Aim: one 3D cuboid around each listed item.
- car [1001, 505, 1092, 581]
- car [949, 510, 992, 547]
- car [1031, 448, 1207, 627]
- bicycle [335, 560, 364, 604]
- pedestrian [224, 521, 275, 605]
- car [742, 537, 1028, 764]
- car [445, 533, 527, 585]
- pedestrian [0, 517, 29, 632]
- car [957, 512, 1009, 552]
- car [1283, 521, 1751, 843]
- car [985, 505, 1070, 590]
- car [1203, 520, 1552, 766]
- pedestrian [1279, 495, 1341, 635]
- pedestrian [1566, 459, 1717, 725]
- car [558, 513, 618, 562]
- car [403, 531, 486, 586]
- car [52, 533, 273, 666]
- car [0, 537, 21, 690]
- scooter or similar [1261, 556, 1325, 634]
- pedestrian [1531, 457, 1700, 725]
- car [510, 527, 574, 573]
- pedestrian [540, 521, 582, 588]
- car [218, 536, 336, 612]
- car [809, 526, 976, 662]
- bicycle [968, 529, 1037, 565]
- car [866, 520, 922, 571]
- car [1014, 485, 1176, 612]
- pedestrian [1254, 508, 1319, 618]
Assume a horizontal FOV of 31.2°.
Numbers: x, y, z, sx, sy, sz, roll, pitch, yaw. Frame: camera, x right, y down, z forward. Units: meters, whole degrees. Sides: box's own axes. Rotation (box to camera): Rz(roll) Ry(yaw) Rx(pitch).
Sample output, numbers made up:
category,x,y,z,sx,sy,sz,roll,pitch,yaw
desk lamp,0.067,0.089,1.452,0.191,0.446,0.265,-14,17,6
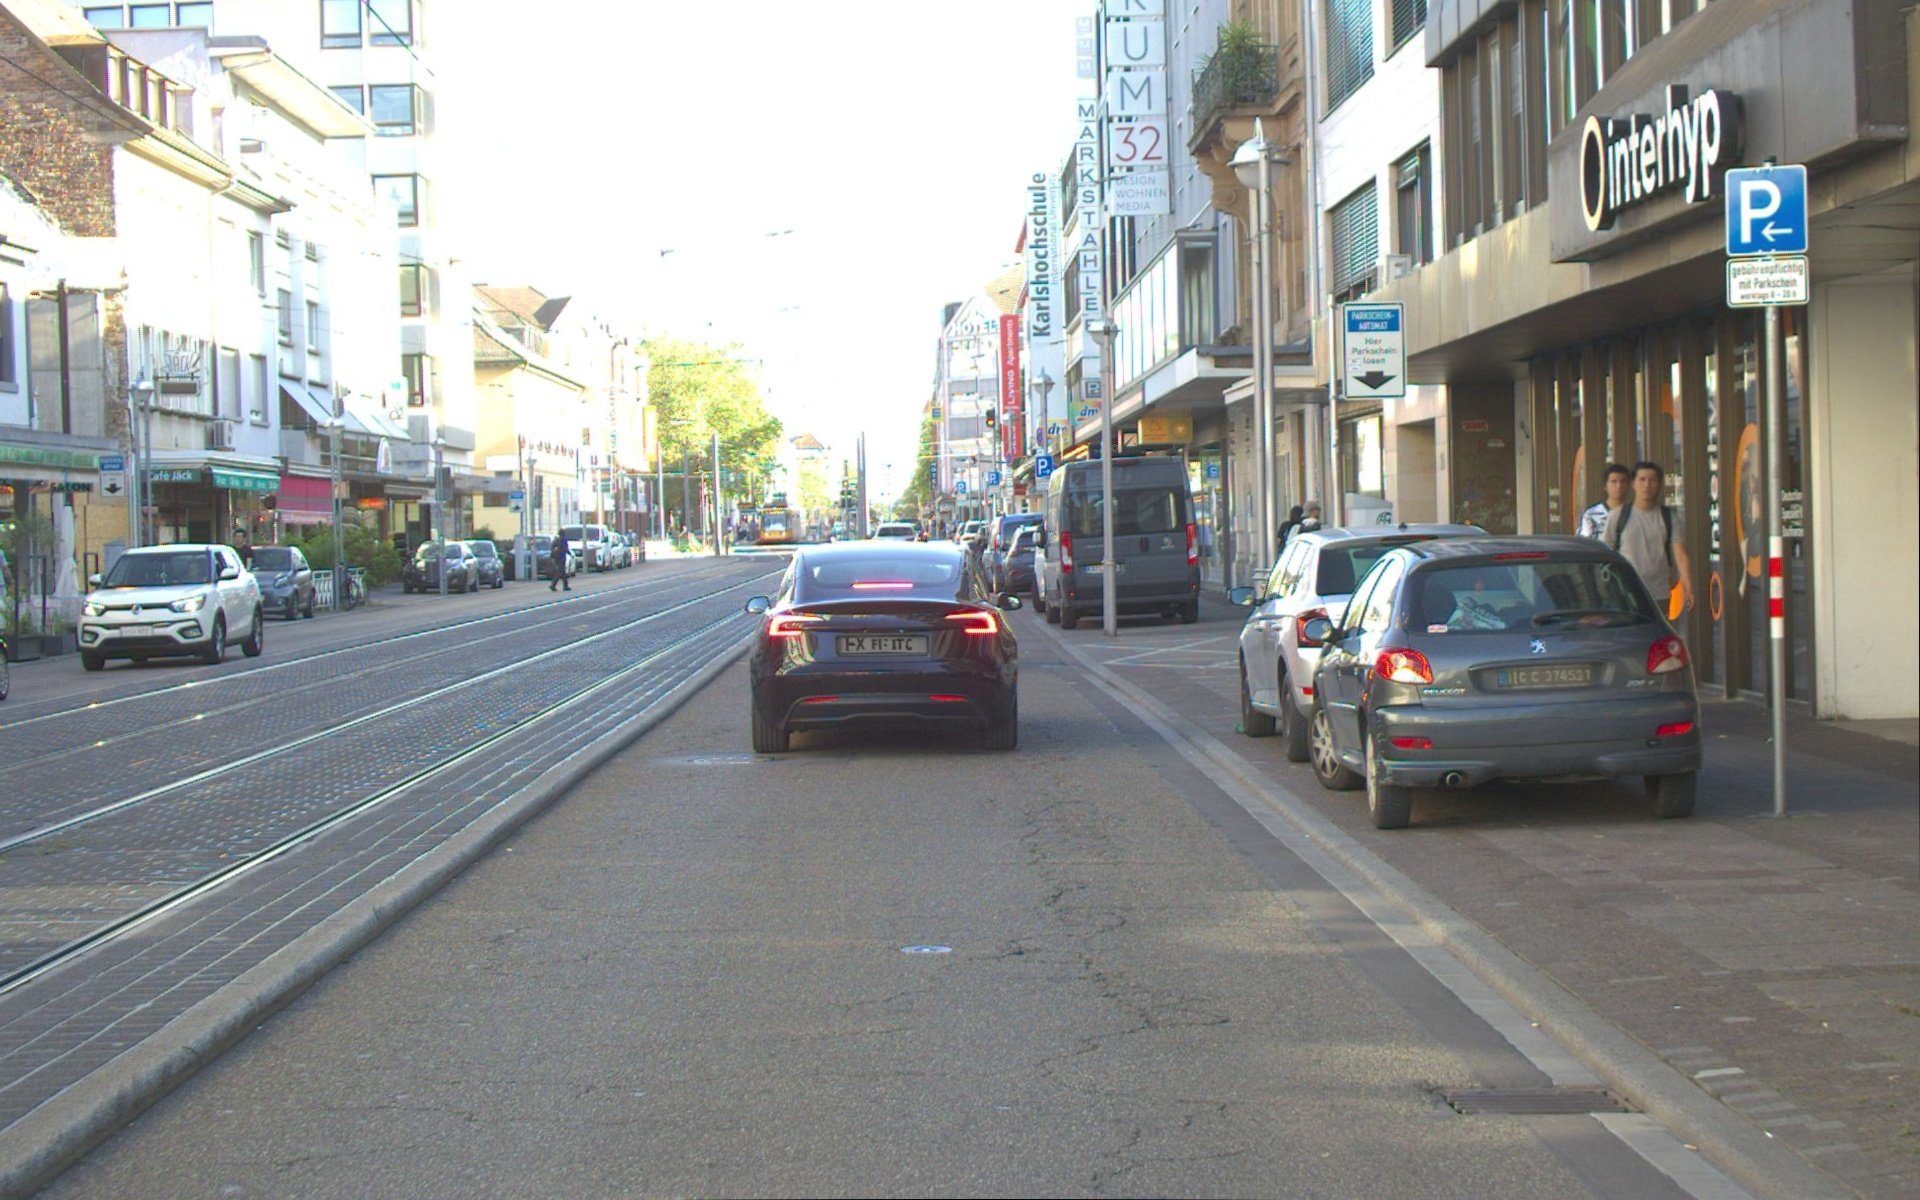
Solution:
category,x,y,z,sx,sy,sz,roll,pitch,yaw
car,1.802,-1.220,72.749,1.751,1.494,3.754,-2,2,0
car,0.511,-3.491,168.259,1.993,1.747,4.000,-1,1,-1
car,2.356,-0.978,52.338,2.171,2.453,5.362,-3,2,-1
bicycle,-14.126,-0.421,79.526,0.368,0.999,1.605,-2,1,-19
pedestrian,-12.368,-0.653,59.856,0.624,1.439,0.874,-1,1,4
car,-0.506,0.293,24.950,1.869,1.422,4.365,-1,2,0
car,-14.714,-1.296,106.873,1.770,1.503,3.860,-2,1,3
pedestrian,-15.001,-0.388,53.387,0.886,1.769,0.688,-1,1,-2
car,0.936,-2.752,139.769,1.993,1.537,4.000,-1,1,-1
car,2.863,0.342,18.581,1.848,1.457,4.302,-2,1,1
car,1.527,-1.225,78.889,1.821,1.864,3.754,-1,2,0
car,2.739,0.215,23.432,1.745,1.457,4.296,-2,1,-1
pedestrian,4.377,-0.445,43.002,0.556,1.708,0.955,-3,1,-2
pedestrian,4.616,-0.063,23.341,0.779,1.746,1.032,-2,1,0
car,-15.505,-2.605,143.415,2.009,1.954,4.725,-2,1,-1
car,-15.030,-1.234,100.453,1.769,1.503,3.864,-2,1,0
car,-10.580,-0.047,45.925,1.890,1.588,4.263,-3,1,0
car,-10.682,0.173,34.624,1.648,1.560,2.829,-1,1,0
scooter or similar,4.266,-0.068,44.071,0.593,0.933,1.299,-3,1,-2
pedestrian,4.693,-0.075,24.678,0.923,1.836,0.999,-3,1,0
car,-15.078,-1.822,124.200,1.718,1.566,3.849,-2,1,1
pedestrian,-11.245,-1.282,96.927,0.772,1.842,0.827,-1,1,30
car,-14.408,-0.571,72.668,1.675,1.540,3.743,0,1,1
car,-0.721,-0.089,38.951,1.762,1.414,4.355,-1,1,0
bicycle,1.376,-1.723,110.963,2.159,1.093,0.686,-2,1,-3
car,-2.500,-2.105,131.225,2.085,1.864,3.754,-1,2,0
car,2.261,-0.903,58.887,2.158,1.919,4.618,-5,2,-3
pedestrian,4.707,-0.538,49.649,0.769,1.538,0.804,-3,1,-1
